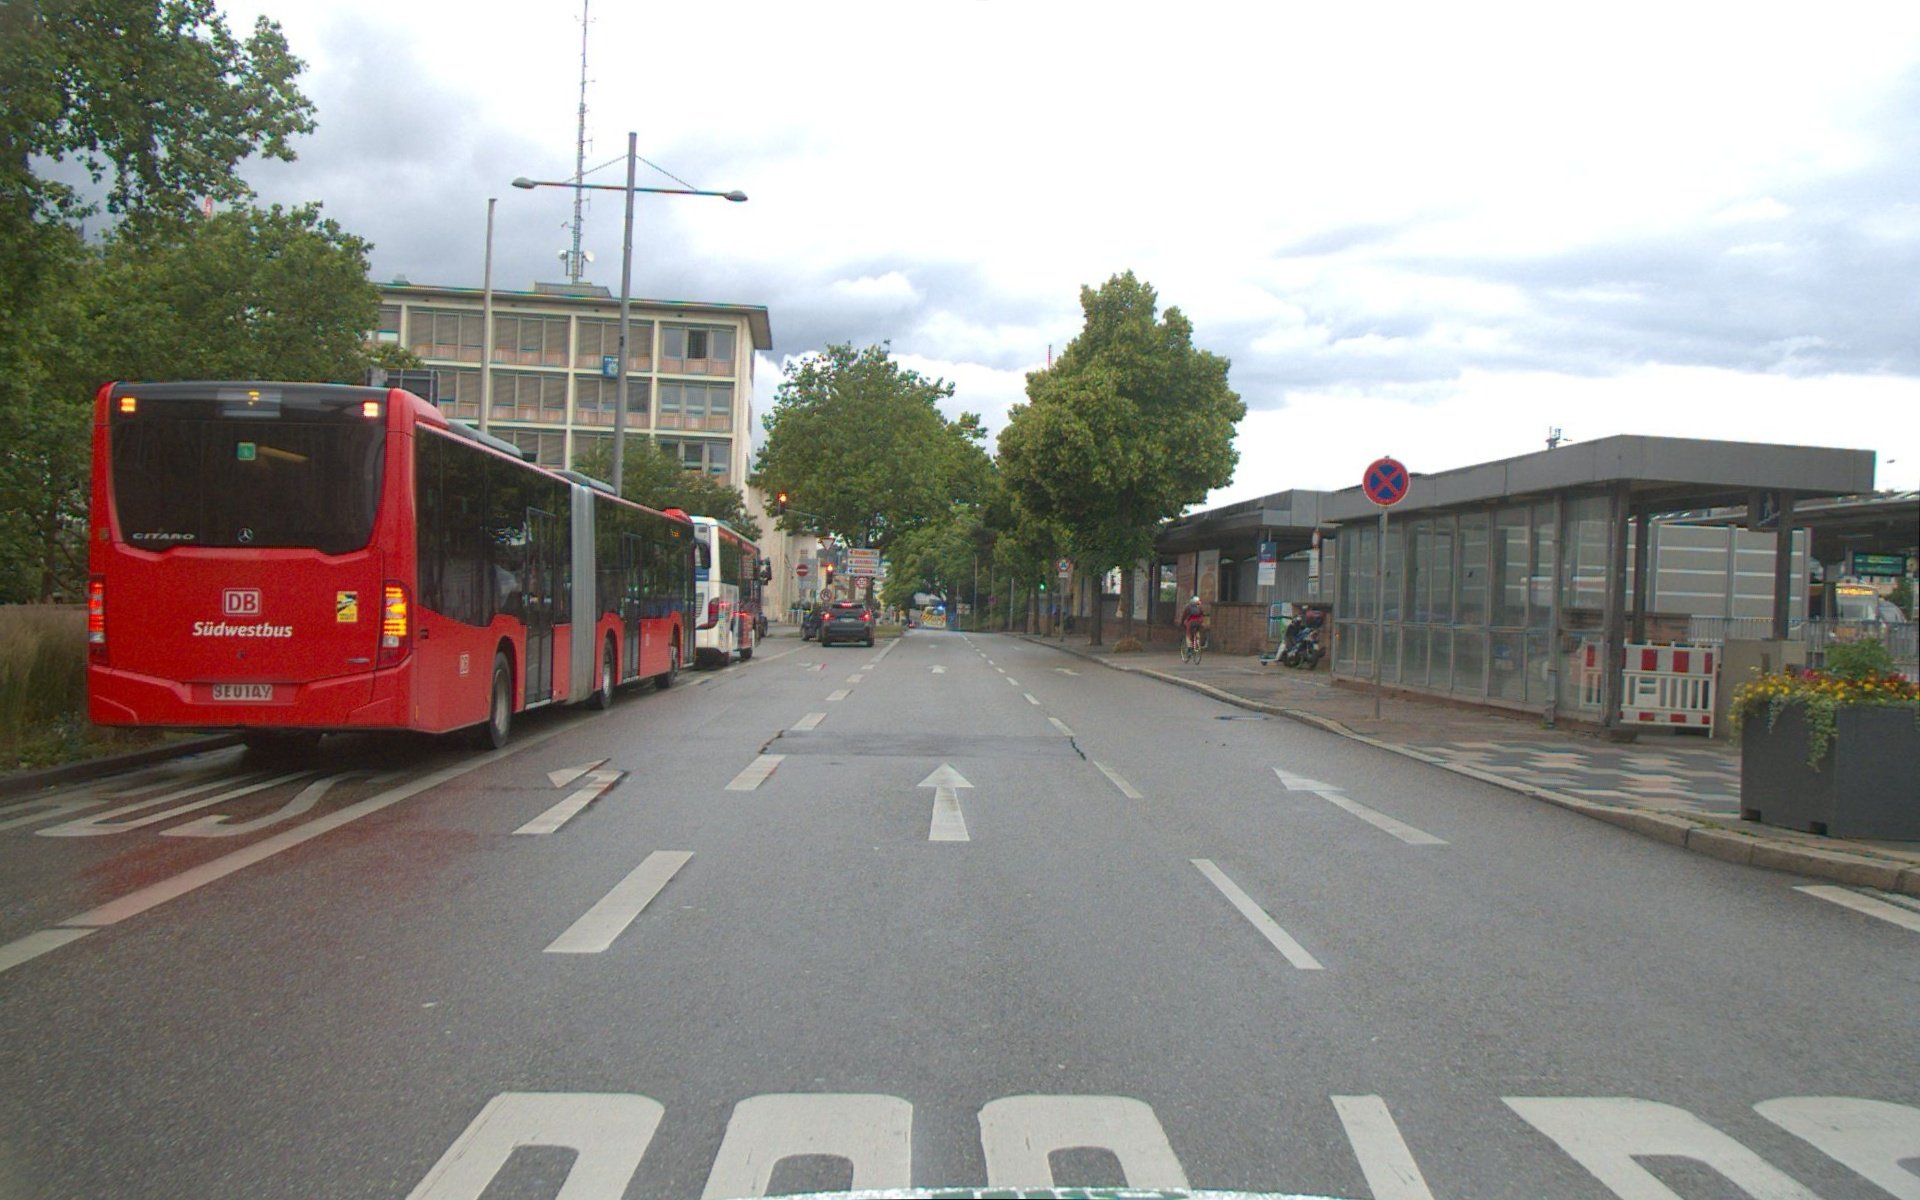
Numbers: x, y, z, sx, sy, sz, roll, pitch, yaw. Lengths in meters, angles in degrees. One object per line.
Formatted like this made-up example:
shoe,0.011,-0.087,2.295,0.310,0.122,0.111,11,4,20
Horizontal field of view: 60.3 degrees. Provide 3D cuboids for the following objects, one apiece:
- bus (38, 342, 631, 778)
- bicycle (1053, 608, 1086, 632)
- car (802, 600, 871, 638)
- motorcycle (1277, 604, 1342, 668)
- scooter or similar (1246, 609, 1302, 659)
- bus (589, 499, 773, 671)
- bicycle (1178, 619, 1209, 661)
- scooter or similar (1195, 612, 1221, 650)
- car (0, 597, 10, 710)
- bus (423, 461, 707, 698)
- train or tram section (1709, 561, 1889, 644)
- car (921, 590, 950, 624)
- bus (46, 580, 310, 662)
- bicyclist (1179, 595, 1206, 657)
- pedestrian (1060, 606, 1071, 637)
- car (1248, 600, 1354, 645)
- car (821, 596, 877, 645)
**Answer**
bus,-5.732,-0.293,17.533,2.753,3.302,9.909,0,0,-2
bicycle,5.680,1.040,86.052,1.688,1.271,0.485,0,-1,30
car,-4.971,0.752,66.136,1.787,1.434,4.392,1,0,-17
motorcycle,7.801,0.791,37.055,0.776,1.371,2.455,1,0,-4
scooter or similar,7.470,0.805,39.459,0.485,1.173,1.704,1,-1,-21
bus,-6.469,-0.300,40.429,2.896,3.499,12.552,1,0,-3
bicycle,5.940,1.016,42.126,0.437,1.034,1.676,-1,0,-4
scooter or similar,7.836,0.961,52.344,0.483,1.173,1.544,1,-1,-4
car,-14.197,0.750,21.618,1.758,1.606,4.137,0,0,-10
bus,-6.027,-0.268,26.855,2.696,3.187,8.839,0,0,-2
train or tram section,36.105,0.145,71.679,2.601,3.340,9.515,0,-1,-3
car,-2.005,0.575,134.448,2.219,2.703,3.997,0,0,-3
bus,-33.967,0.936,71.750,11.685,3.072,2.890,-2,-2,19
bicyclist,5.922,0.649,42.101,0.523,1.565,0.694,-1,-1,-4
pedestrian,5.473,1.123,85.632,0.448,1.596,0.392,0,-1,30
car,12.186,0.808,59.249,3.483,1.569,1.747,0,0,3
car,-3.929,0.724,59.150,1.925,1.668,4.356,1,0,-3
